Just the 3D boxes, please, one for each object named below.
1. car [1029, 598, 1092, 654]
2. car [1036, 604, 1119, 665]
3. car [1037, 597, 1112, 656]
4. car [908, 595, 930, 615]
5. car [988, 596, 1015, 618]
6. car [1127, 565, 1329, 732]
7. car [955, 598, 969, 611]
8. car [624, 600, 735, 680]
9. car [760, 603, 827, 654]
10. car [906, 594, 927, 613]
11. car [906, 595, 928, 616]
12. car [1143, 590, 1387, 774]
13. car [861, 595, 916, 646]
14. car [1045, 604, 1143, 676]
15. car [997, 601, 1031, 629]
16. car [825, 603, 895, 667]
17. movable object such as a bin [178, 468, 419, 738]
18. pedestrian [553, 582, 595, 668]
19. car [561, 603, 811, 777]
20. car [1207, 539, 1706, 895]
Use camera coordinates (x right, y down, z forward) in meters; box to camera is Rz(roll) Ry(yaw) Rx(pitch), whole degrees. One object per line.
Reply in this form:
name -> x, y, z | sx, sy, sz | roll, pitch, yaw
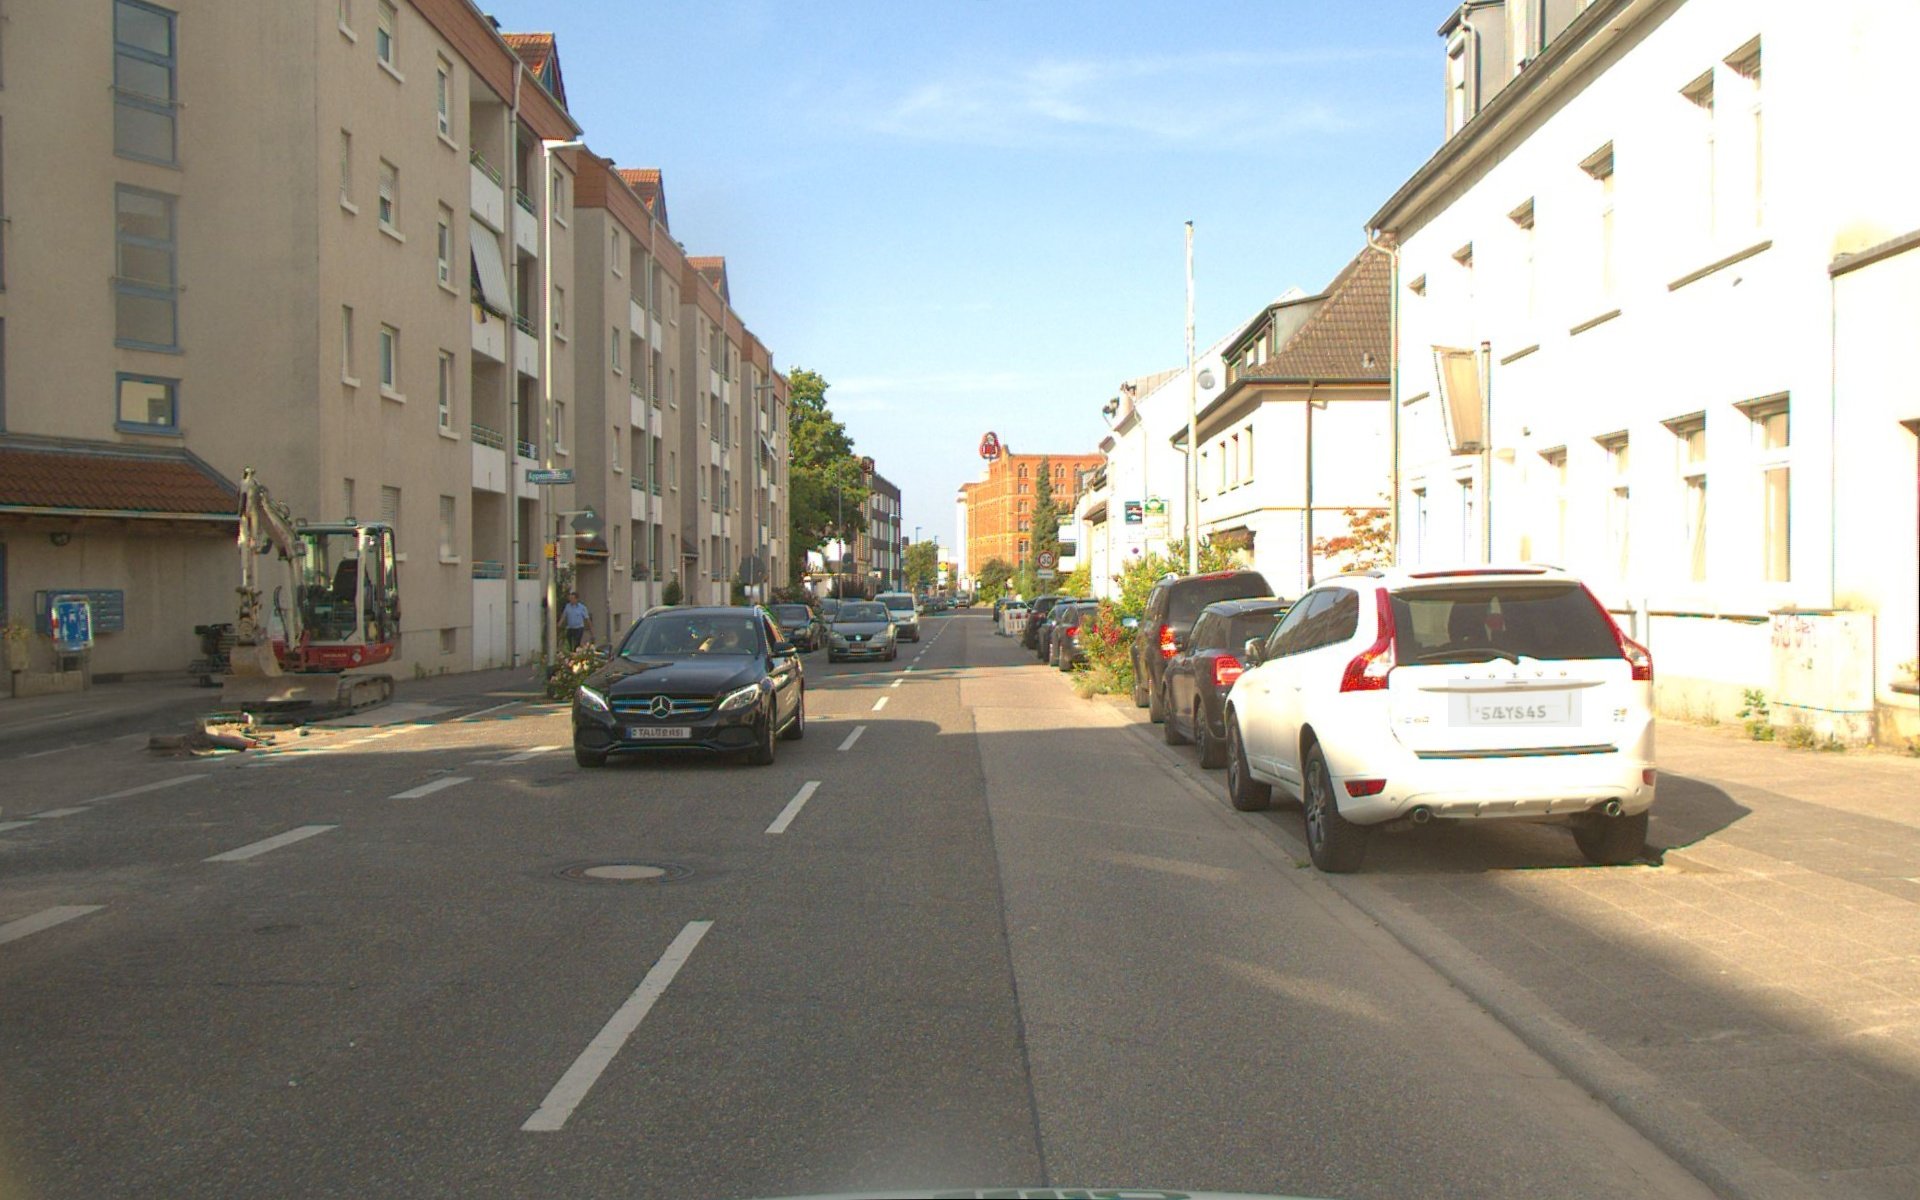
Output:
car -> 3.147, 0.853, 52.648 | 1.792, 1.659, 4.463 | 2, -2, 1
car -> 2.925, 0.836, 42.014 | 1.792, 1.445, 4.609 | 0, 0, 0
car -> 3.236, 0.735, 47.482 | 1.792, 1.587, 4.316 | -1, 0, -1
car -> -3.960, 0.479, 161.784 | 1.952, 1.941, 4.001 | -1, 0, 1
car -> 2.918, 0.459, 116.633 | 1.821, 1.497, 4.000 | 0, 0, 0
car -> 3.368, 0.539, 21.656 | 2.032, 1.888, 4.612 | -2, 1, 2
car -> 0.278, 0.613, 211.351 | 1.727, 1.644, 4.000 | -1, 0, 0
car -> -5.418, 0.738, 32.293 | 1.607, 1.420, 3.670 | -1, 0, -1
car -> -5.027, 0.841, 50.347 | 1.651, 1.430, 4.083 | 1, 0, -1
car -> -4.426, 0.320, 168.032 | 1.952, 1.915, 4.000 | 0, 0, 1
car -> -4.071, 0.507, 157.795 | 1.952, 1.945, 3.690 | -1, 0, 1
car -> 2.917, 0.723, 16.737 | 1.556, 1.555, 4.613 | -2, 0, 0
car -> -2.603, 0.713, 61.280 | 1.883, 1.798, 4.337 | -1, 0, -1
car -> 2.898, 0.837, 36.549 | 1.743, 1.445, 4.495 | 0, 0, -1
car -> 2.992, 0.819, 92.288 | 1.792, 1.508, 3.943 | -1, 0, 1
car -> -2.473, 0.843, 41.651 | 1.585, 1.480, 3.684 | -1, 0, -1
movable object such as a bin -> -8.494, 0.018, 21.596 | 1.614, 3.193, 3.899 | -1, 0, -1
pedestrian -> -8.406, 0.542, 36.043 | 0.704, 1.850, 0.745 | 0, 0, 0
car -> -2.530, 0.773, 16.241 | 1.792, 1.445, 4.208 | -1, 0, -1
car -> 2.853, 0.584, 10.628 | 1.775, 1.713, 4.476 | -3, 0, 0
